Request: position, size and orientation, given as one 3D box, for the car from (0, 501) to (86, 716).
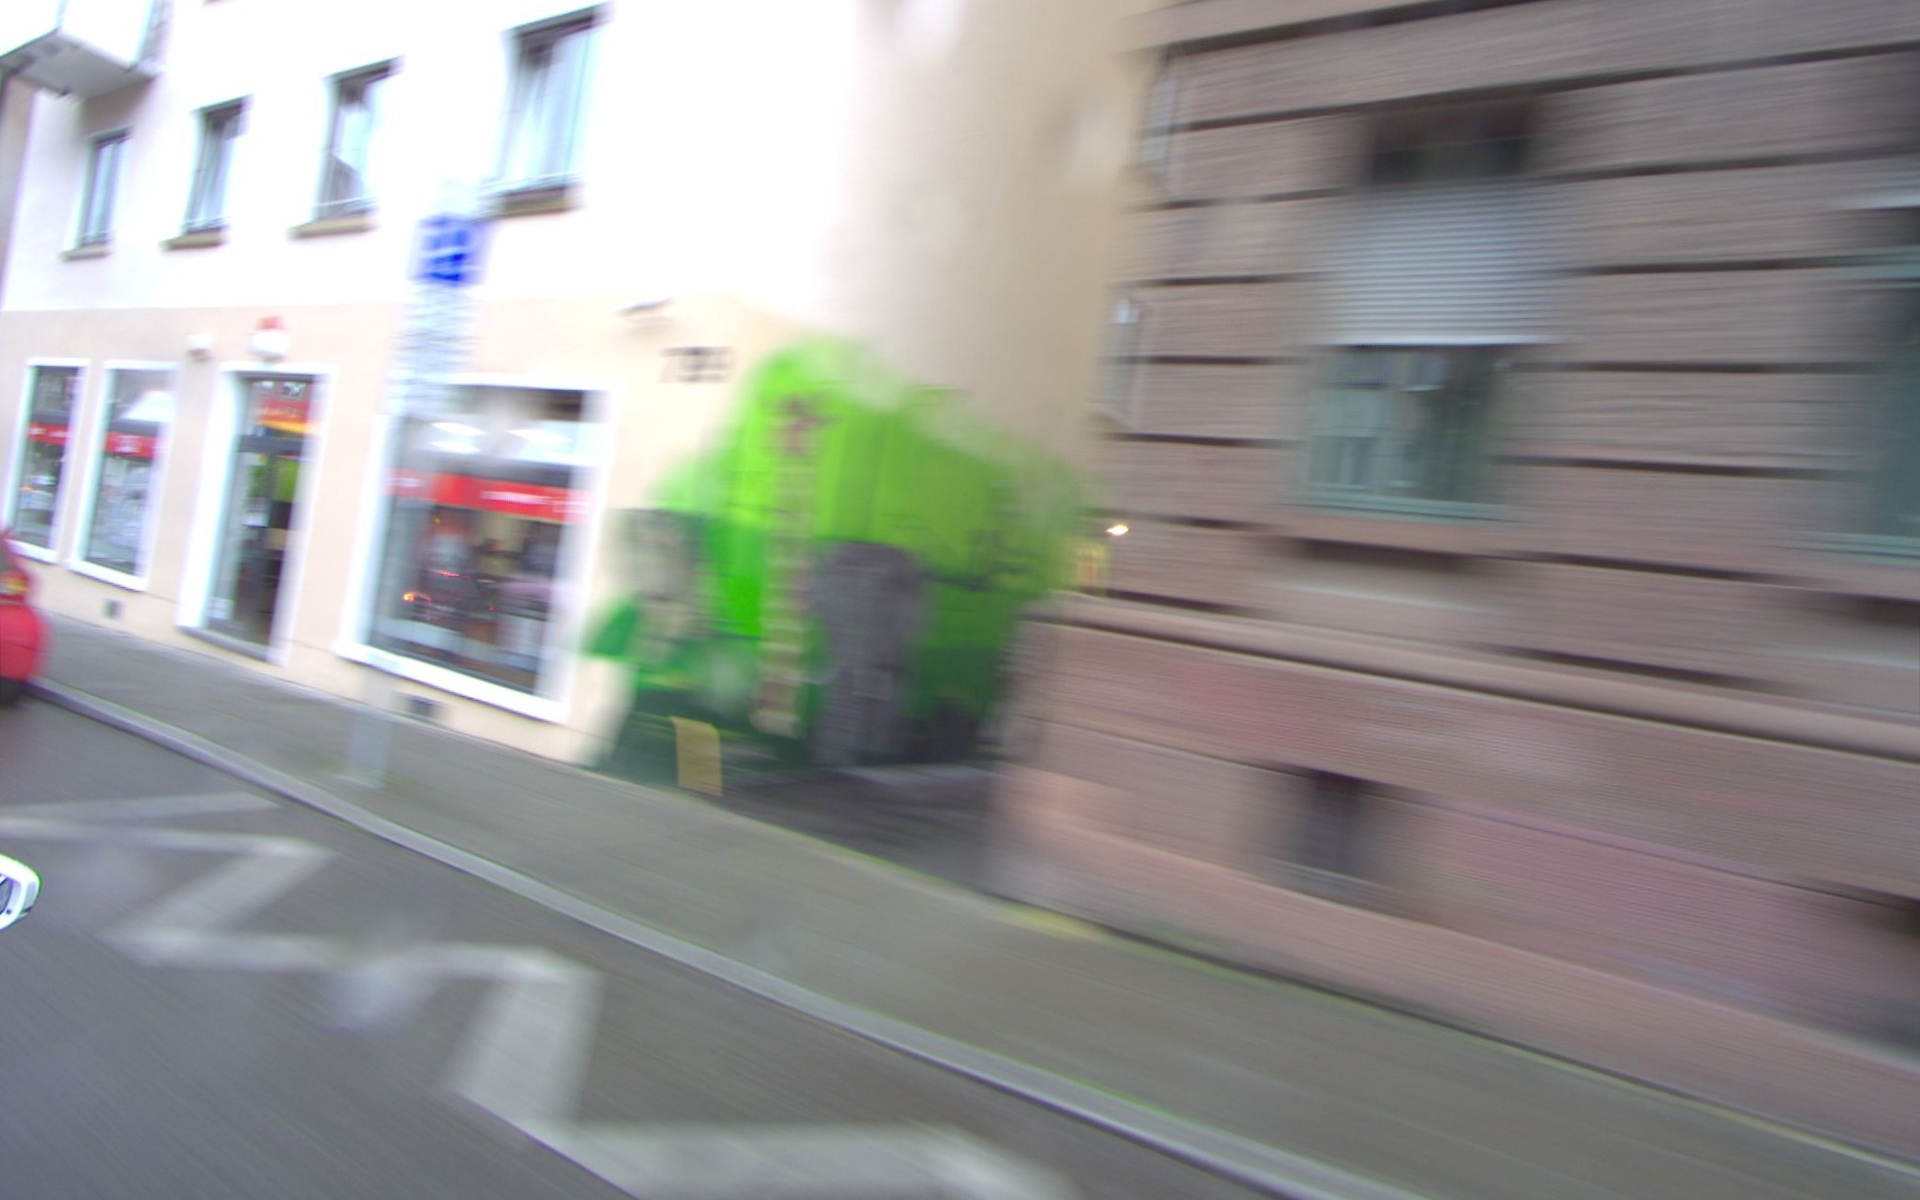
[{"bbox_3d":[-8.275,-0.144,7.421,3.388,1.479,1.719,7,-2,32],"label":"car"}]
